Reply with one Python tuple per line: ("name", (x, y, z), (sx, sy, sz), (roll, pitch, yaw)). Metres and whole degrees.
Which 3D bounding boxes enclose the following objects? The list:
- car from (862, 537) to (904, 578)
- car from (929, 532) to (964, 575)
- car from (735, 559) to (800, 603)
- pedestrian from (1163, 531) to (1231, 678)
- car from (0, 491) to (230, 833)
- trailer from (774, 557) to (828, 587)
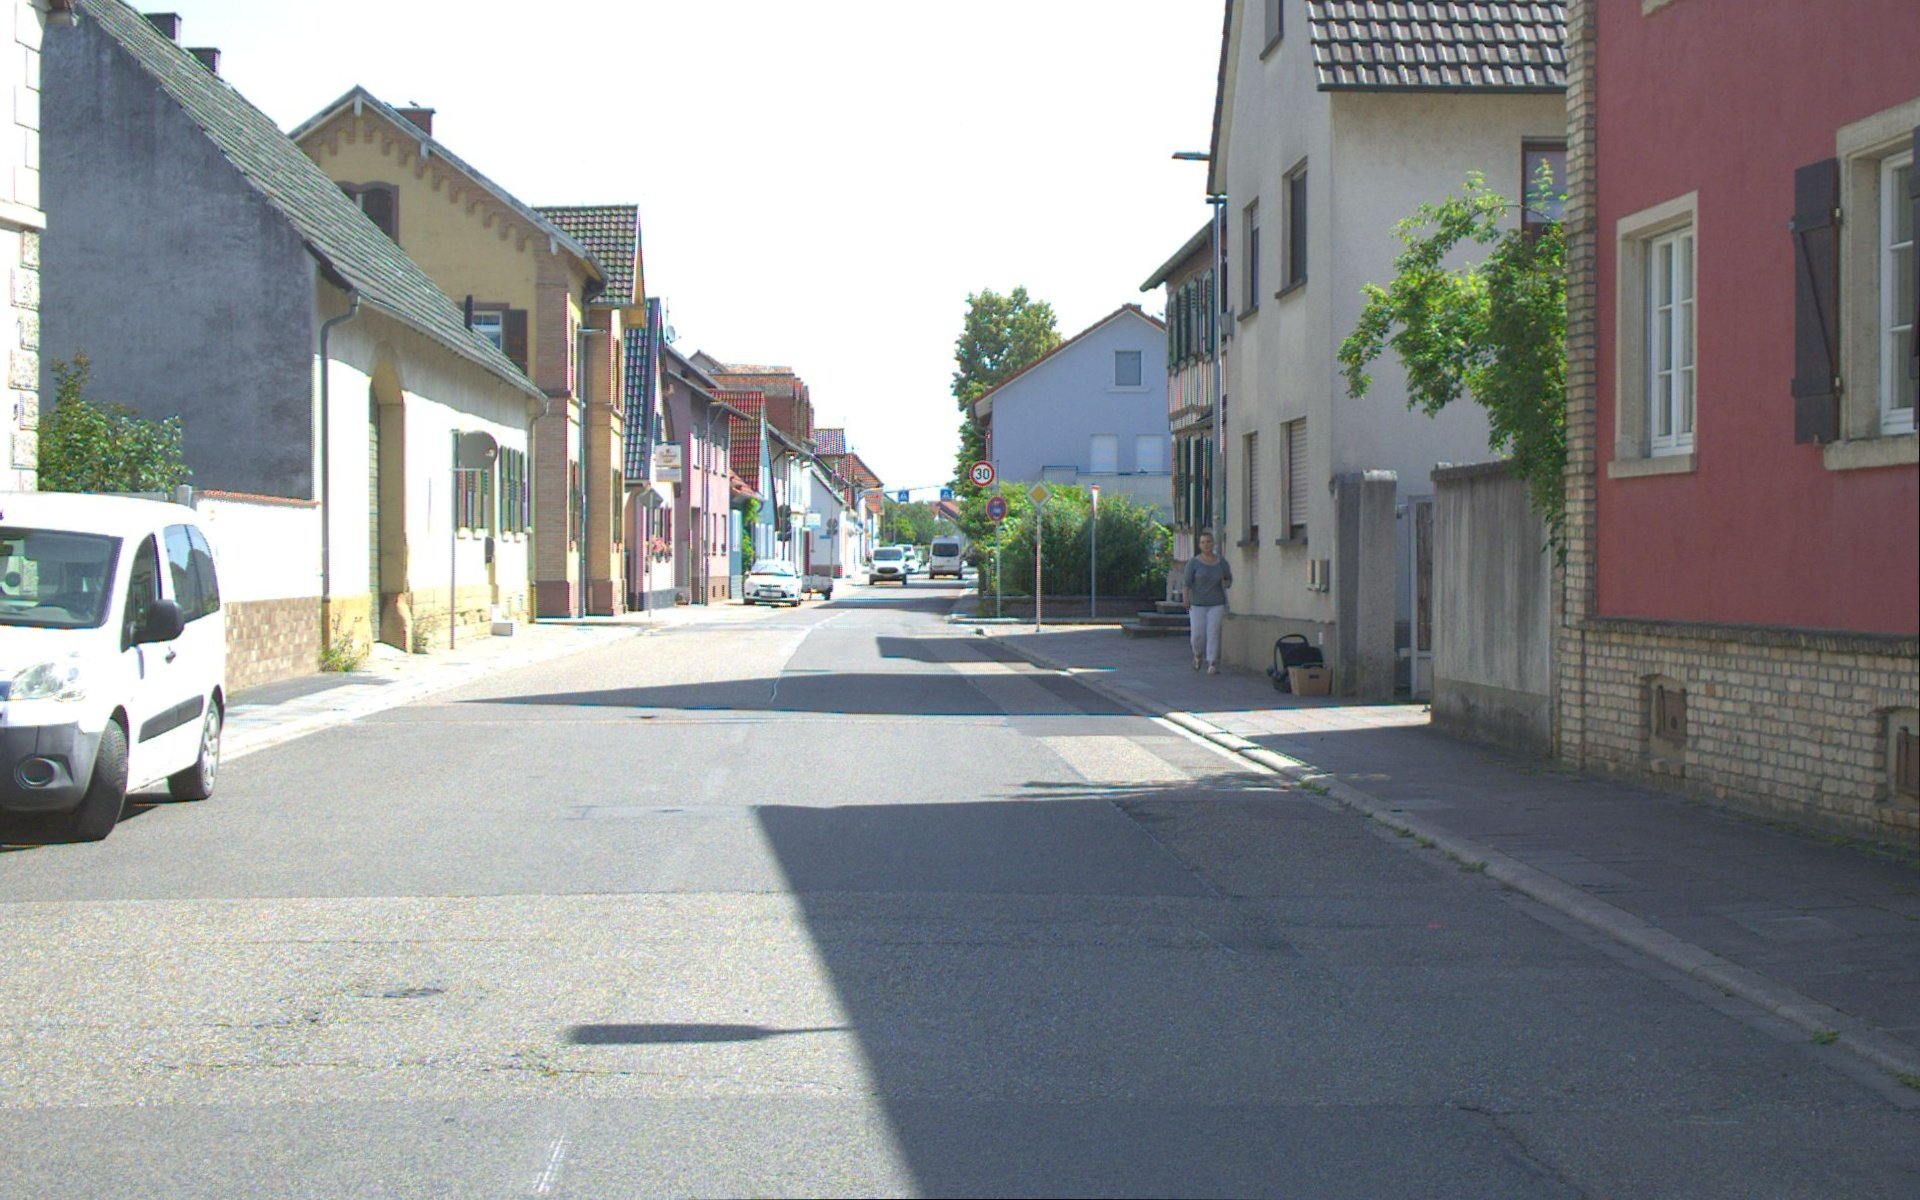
("car", (-4.057, -2.225, 181.126), (2.158, 2.073, 4.000), (0, -1, -2))
("car", (-0.841, -2.807, 207.960), (2.017, 2.559, 4.000), (0, 1, -2))
("car", (-6.333, -0.642, 113.394), (1.993, 1.437, 4.000), (0, 1, -1))
("pedestrian", (2.726, 0.044, 39.577), (0.719, 1.658, 0.892), (1, 1, 2))
("car", (-5.271, 0.242, 18.787), (1.855, 1.641, 4.430), (2, 1, -4))
("trailer", (-6.007, -1.058, 130.205), (1.993, 1.086, 4.001), (0, 1, -3))
